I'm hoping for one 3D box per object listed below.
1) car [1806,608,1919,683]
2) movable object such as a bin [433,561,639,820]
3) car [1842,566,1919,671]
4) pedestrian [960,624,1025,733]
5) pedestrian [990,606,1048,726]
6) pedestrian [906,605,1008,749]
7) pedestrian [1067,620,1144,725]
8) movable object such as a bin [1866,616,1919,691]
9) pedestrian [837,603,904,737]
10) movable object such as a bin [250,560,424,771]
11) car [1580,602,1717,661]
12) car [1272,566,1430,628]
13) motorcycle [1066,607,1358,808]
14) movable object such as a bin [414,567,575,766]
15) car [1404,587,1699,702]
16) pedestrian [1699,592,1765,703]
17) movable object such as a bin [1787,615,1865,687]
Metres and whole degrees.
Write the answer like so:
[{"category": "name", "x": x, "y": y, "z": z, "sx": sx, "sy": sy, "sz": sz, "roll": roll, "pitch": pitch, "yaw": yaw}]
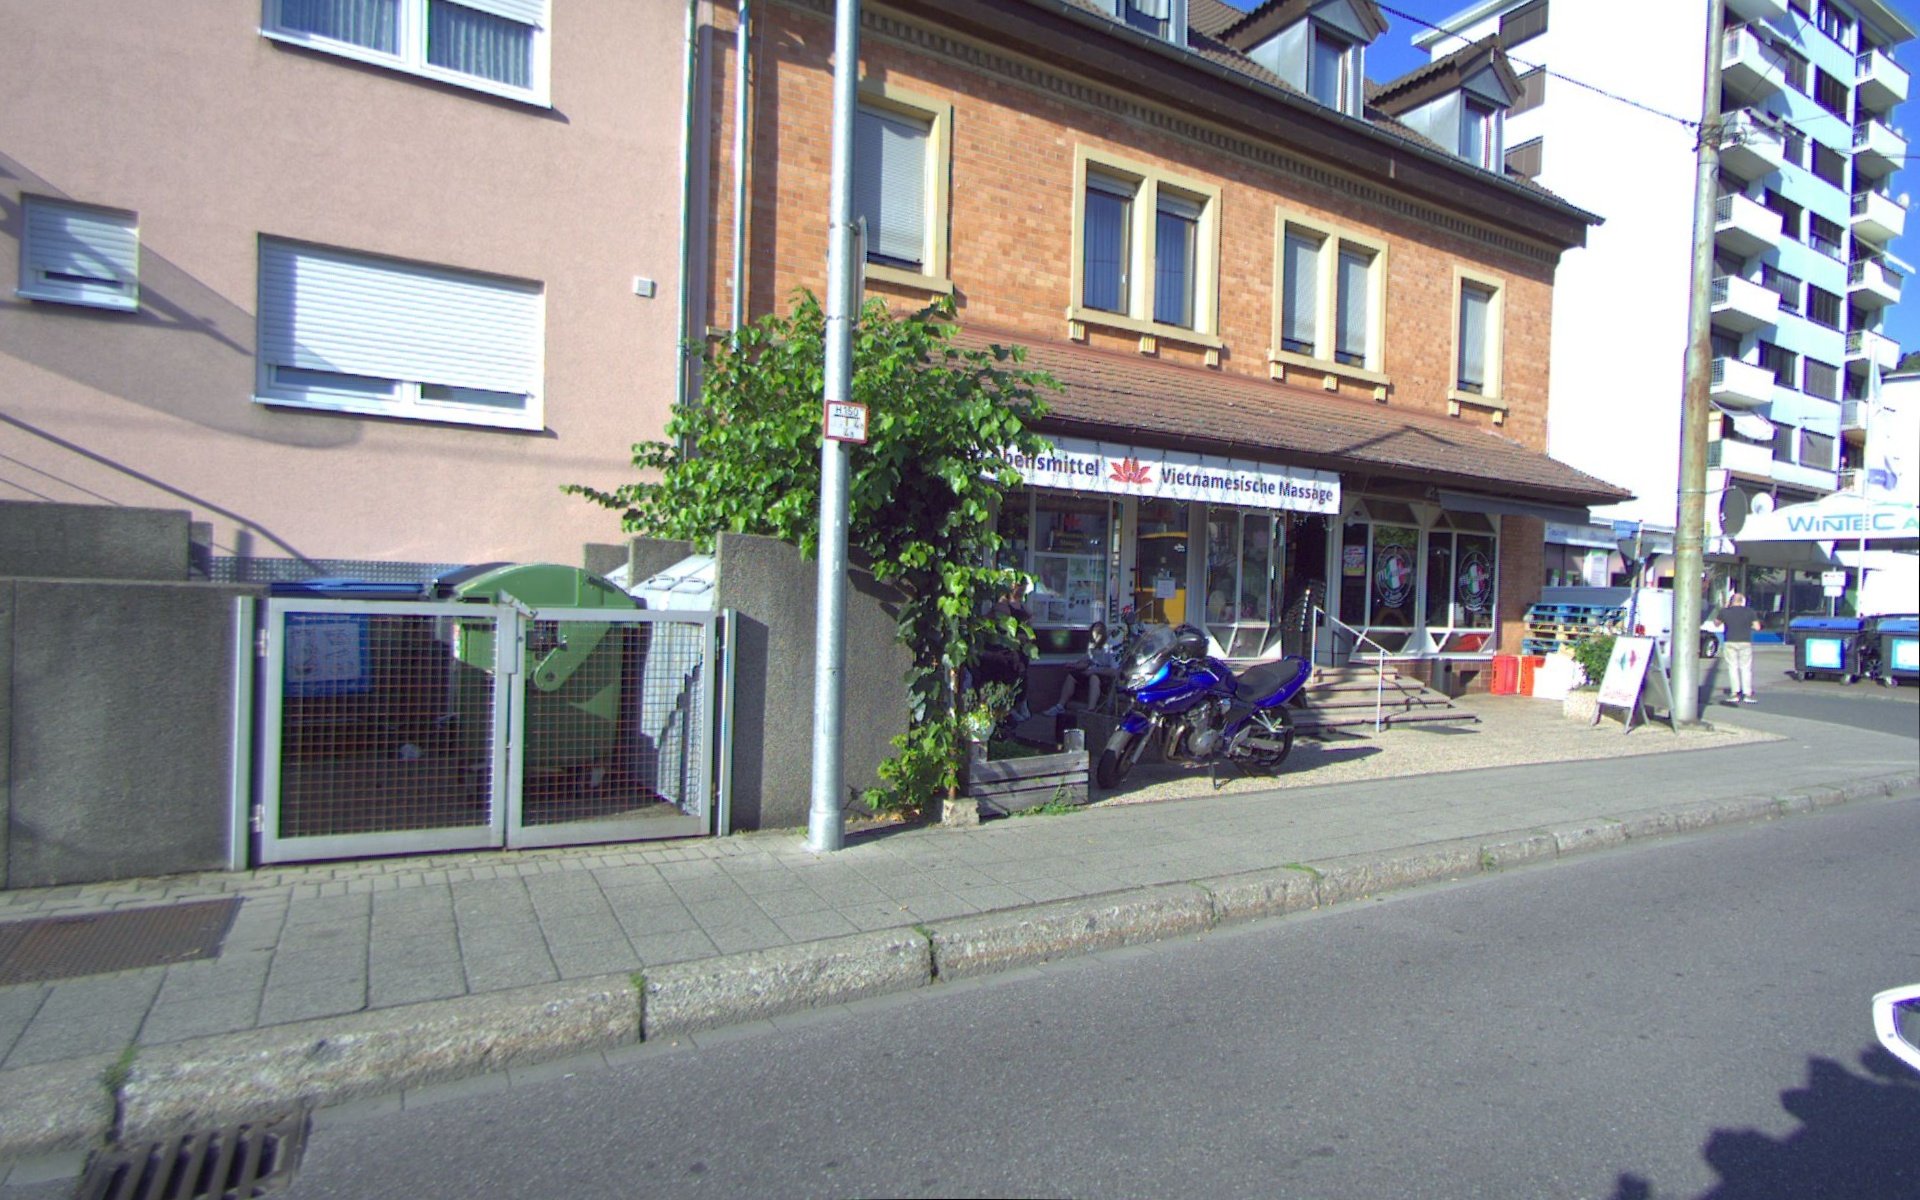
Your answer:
[{"category": "car", "x": 22.184, "y": 1.070, "z": 23.109, "sx": 1.760, "sy": 1.589, "sz": 3.948, "roll": 0, "pitch": 2, "yaw": -43}, {"category": "movable object such as a bin", "x": -2.742, "y": 0.506, "z": 6.432, "sx": 0.981, "sy": 1.449, "sz": 1.299, "roll": 1, "pitch": 1, "yaw": -33}, {"category": "car", "x": 24.855, "y": 0.515, "z": 24.378, "sx": 4.994, "sy": 2.503, "sz": 2.099, "roll": 3, "pitch": 1, "yaw": 39}, {"category": "pedestrian", "x": 0.332, "y": 0.790, "z": 10.287, "sx": 0.517, "sy": 1.061, "sz": 0.381, "roll": 2, "pitch": 1, "yaw": 44}, {"category": "pedestrian", "x": 0.635, "y": 0.696, "z": 10.835, "sx": 0.379, "sy": 1.243, "sz": 0.521, "roll": 1, "pitch": 1, "yaw": -28}, {"category": "pedestrian", "x": -0.038, "y": 0.688, "z": 9.356, "sx": 0.658, "sy": 1.260, "sz": 0.742, "roll": 1, "pitch": 1, "yaw": -27}, {"category": "pedestrian", "x": 1.644, "y": 0.801, "z": 11.342, "sx": 0.625, "sy": 1.124, "sz": 0.560, "roll": 1, "pitch": 1, "yaw": -29}, {"category": "movable object such as a bin", "x": 20.145, "y": 1.131, "z": 21.326, "sx": 0.697, "sy": 1.503, "sz": 1.210, "roll": -3, "pitch": 3, "yaw": -34}, {"category": "pedestrian", "x": -0.891, "y": 0.677, "z": 9.951, "sx": 0.459, "sy": 1.275, "sz": 0.521, "roll": 1, "pitch": 1, "yaw": -28}, {"category": "movable object such as a bin", "x": -4.663, "y": 0.451, "z": 7.552, "sx": 1.031, "sy": 1.449, "sz": 0.916, "roll": 1, "pitch": 1, "yaw": -32}, {"category": "car", "x": 20.785, "y": 0.922, "z": 30.293, "sx": 4.266, "sy": 1.589, "sz": 1.758, "roll": 1, "pitch": 2, "yaw": -31}, {"category": "car", "x": 11.510, "y": -0.099, "z": 29.832, "sx": 1.977, "sy": 1.545, "sz": 3.969, "roll": 6, "pitch": -2, "yaw": -29}, {"category": "motorcycle", "x": 1.947, "y": 0.749, "z": 7.625, "sx": 2.208, "sy": 1.299, "sz": 0.834, "roll": 2, "pitch": 1, "yaw": -33}, {"category": "movable object such as a bin", "x": -3.697, "y": 0.487, "z": 7.962, "sx": 1.031, "sy": 1.449, "sz": 0.916, "roll": 1, "pitch": 1, "yaw": -32}, {"category": "car", "x": 11.388, "y": 0.762, "z": 19.710, "sx": 1.978, "sy": 1.959, "sz": 4.590, "roll": 1, "pitch": 0, "yaw": -31}, {"category": "pedestrian", "x": 13.631, "y": 0.811, "z": 17.735, "sx": 0.809, "sy": 1.893, "sz": 0.790, "roll": 2, "pitch": 1, "yaw": 44}, {"category": "movable object such as a bin", "x": 19.387, "y": 1.118, "z": 22.490, "sx": 0.697, "sy": 1.503, "sz": 1.170, "roll": -3, "pitch": 3, "yaw": -34}]
